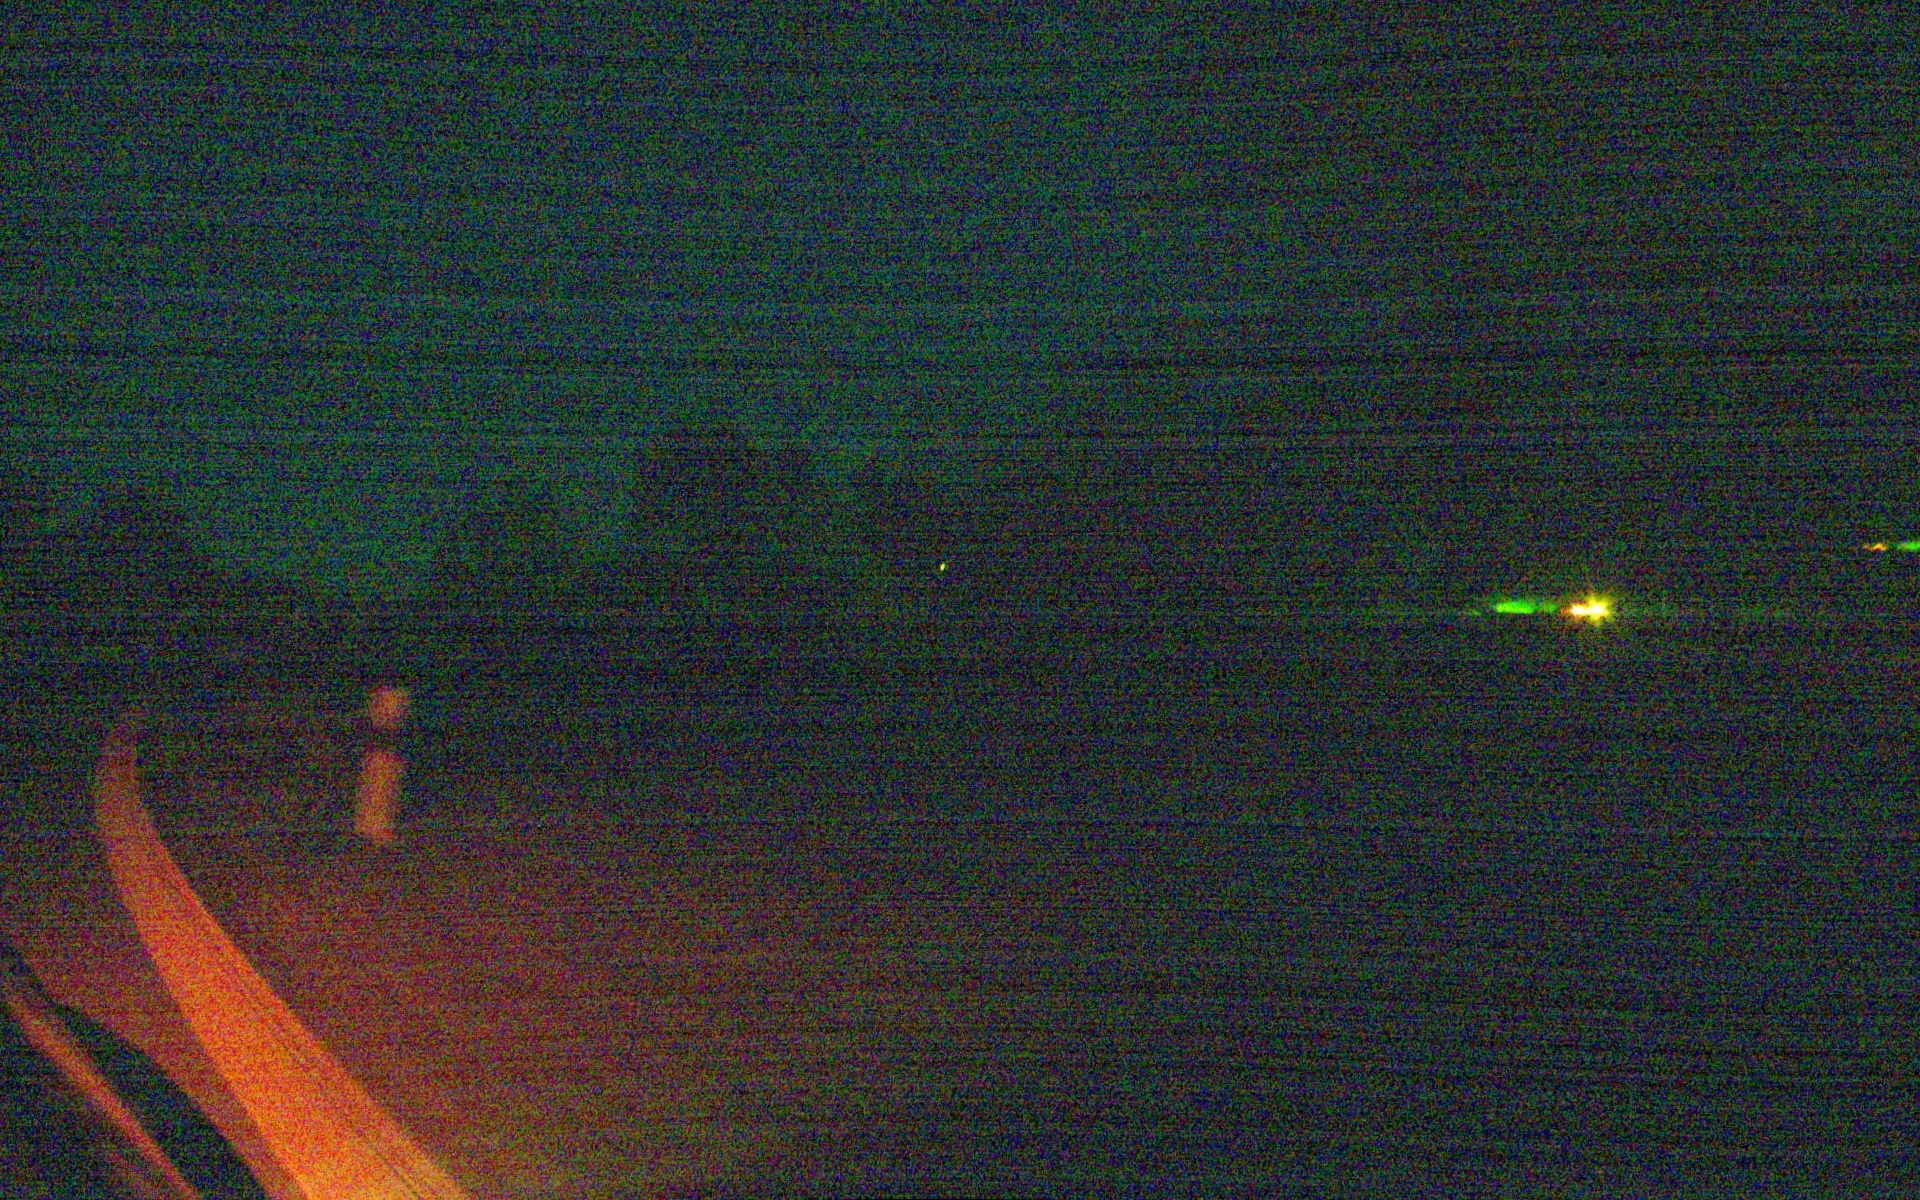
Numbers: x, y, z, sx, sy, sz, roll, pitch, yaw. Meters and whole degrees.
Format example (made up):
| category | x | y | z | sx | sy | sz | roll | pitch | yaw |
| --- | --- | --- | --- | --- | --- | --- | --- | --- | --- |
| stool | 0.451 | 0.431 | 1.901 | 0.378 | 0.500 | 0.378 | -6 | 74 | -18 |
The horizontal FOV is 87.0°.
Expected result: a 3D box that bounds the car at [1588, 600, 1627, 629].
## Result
| category | x | y | z | sx | sy | sz | roll | pitch | yaw |
| --- | --- | --- | --- | --- | --- | --- | --- | --- | --- |
| car | 42.272 | 0.946 | 66.136 | 1.869 | 1.798 | 3.958 | -3 | -2 | 30 |
